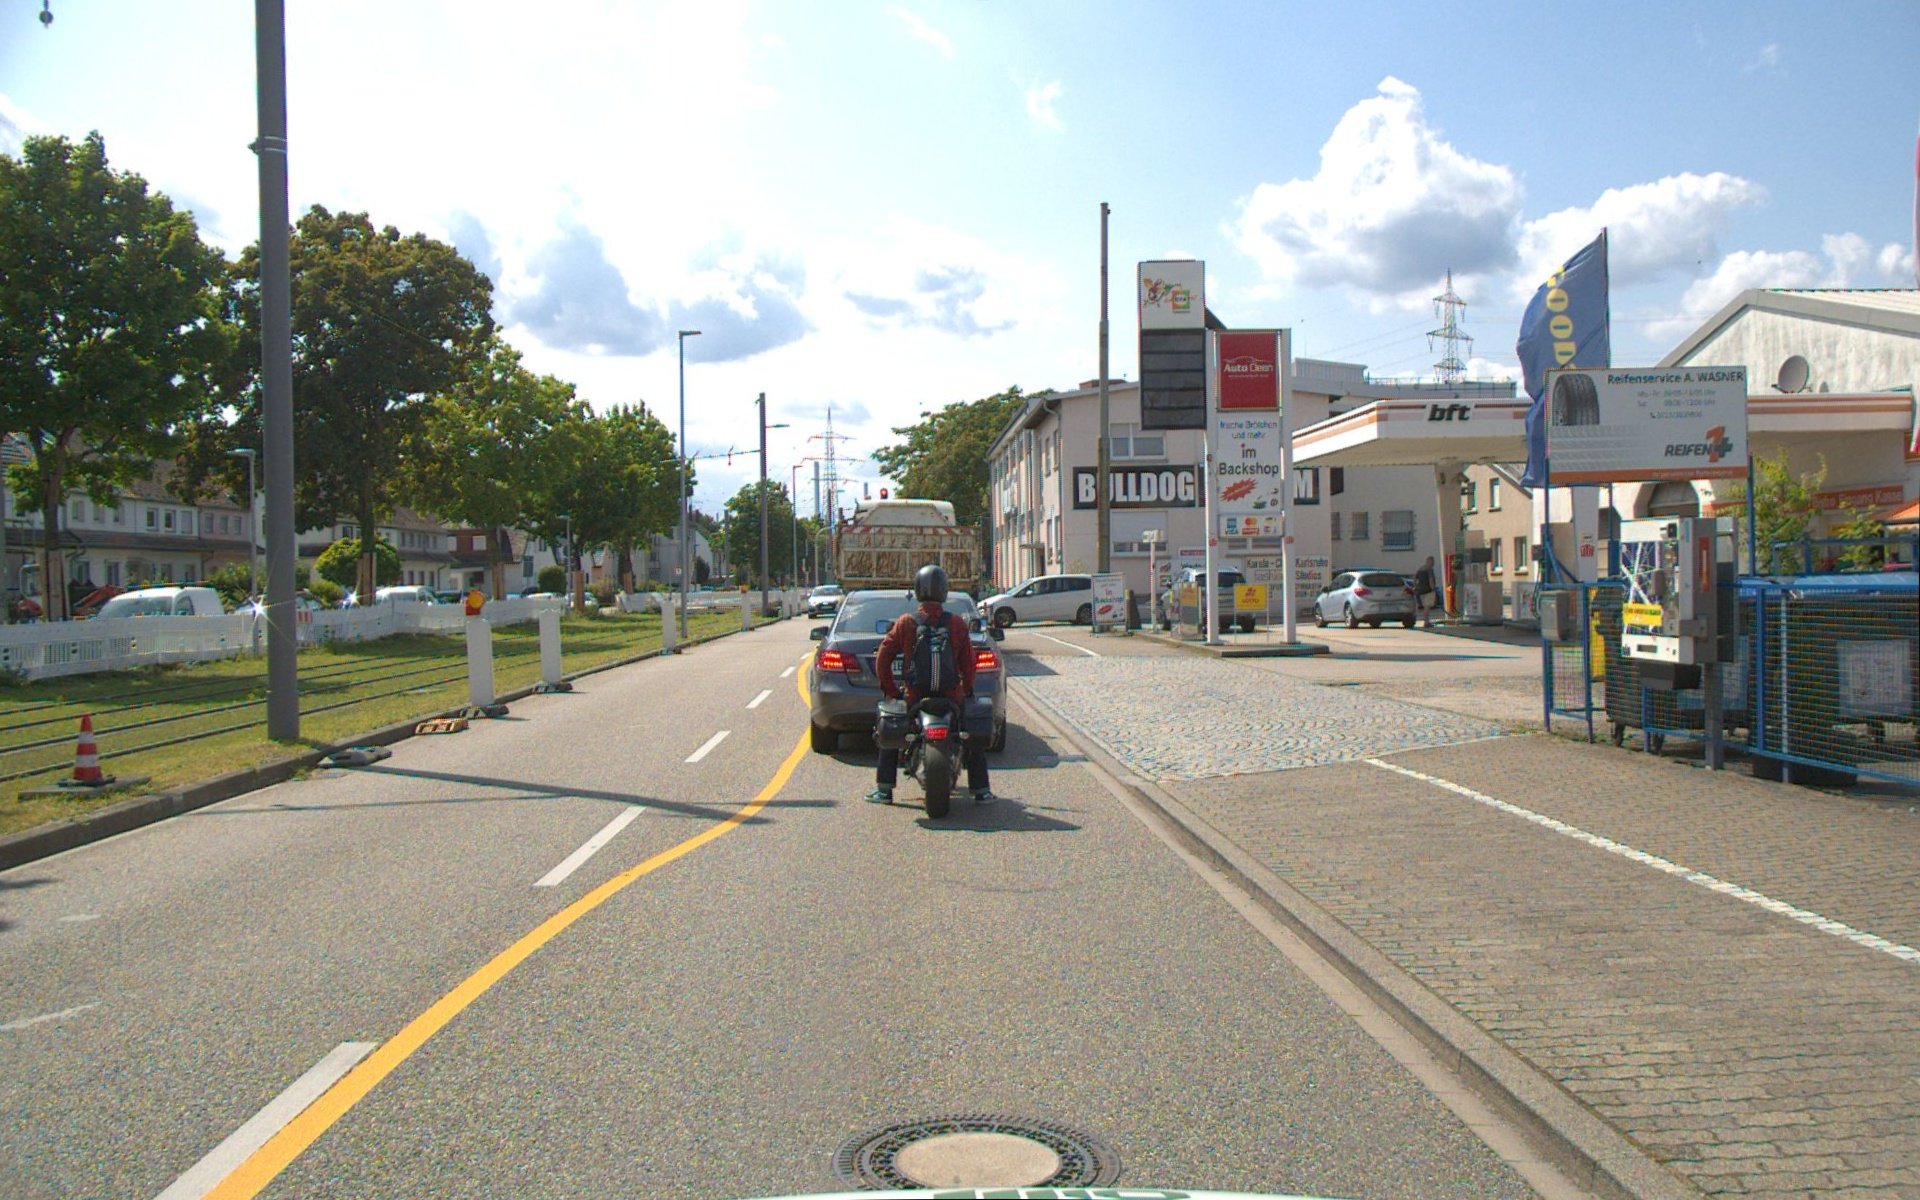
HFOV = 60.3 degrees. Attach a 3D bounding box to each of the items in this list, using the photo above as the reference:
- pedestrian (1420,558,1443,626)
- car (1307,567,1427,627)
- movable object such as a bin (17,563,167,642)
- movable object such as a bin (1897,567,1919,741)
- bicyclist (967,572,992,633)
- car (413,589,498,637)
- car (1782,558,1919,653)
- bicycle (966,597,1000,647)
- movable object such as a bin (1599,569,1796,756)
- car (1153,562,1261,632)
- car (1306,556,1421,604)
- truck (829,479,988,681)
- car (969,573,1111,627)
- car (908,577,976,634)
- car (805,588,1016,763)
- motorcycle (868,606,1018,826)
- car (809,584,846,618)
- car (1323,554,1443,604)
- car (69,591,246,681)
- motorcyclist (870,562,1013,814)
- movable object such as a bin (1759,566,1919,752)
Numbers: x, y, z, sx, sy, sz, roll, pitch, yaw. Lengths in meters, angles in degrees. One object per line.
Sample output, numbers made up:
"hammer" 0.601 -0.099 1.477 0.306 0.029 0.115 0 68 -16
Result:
"pedestrian" 12.085 -0.203 42.385 0.388 1.718 0.485 -2 0 -1
"car" 10.779 -0.076 44.109 1.921 1.445 3.996 -2 0 -4
"movable object such as a bin" -29.098 0.058 55.599 4.280 2.492 1.775 -2 1 -24
"movable object such as a bin" 8.791 0.432 13.847 1.296 1.469 0.953 -2 0 -9
"bicyclist" 0.572 0.074 48.564 0.658 1.774 0.813 -1 0 -3
"car" -18.506 0.455 60.824 1.953 1.634 3.998 -2 0 -2
"car" 14.881 0.046 25.851 3.254 1.384 1.611 -2 0 -2
"bicycle" 0.661 0.633 48.614 0.679 1.385 2.415 -2 1 -6
"movable object such as a bin" 6.140 0.505 13.819 1.231 1.469 0.823 -2 0 -2
"car" 6.386 -0.075 43.205 1.921 1.677 3.996 -2 0 -4
"car" 15.576 -0.777 63.970 3.908 1.677 1.964 -2 0 -3
"truck" -0.983 -0.481 32.427 2.558 3.312 9.180 -2 2 -2
"car" 2.574 0.004 53.718 4.252 1.578 1.945 -2 0 -11
"car" -0.525 0.120 45.316 1.785 1.489 3.999 -1 1 -2
"car" -0.490 0.630 16.109 1.785 1.449 3.998 -1 1 -2
"motorcycle" -0.153 0.730 11.647 0.920 1.343 2.644 1 0 -2
"car" -6.167 0.012 77.155 1.622 1.472 4.300 -2 1 -4
"car" 15.677 -0.779 61.427 3.908 1.677 1.964 -2 0 -3
"car" -17.345 0.738 35.985 1.953 1.780 3.998 -2 0 -2
"motorcyclist" -0.141 0.575 11.466 0.920 1.643 1.204 1 0 -2
"movable object such as a bin" 7.492 0.469 13.766 1.231 1.469 0.823 -2 0 -2
